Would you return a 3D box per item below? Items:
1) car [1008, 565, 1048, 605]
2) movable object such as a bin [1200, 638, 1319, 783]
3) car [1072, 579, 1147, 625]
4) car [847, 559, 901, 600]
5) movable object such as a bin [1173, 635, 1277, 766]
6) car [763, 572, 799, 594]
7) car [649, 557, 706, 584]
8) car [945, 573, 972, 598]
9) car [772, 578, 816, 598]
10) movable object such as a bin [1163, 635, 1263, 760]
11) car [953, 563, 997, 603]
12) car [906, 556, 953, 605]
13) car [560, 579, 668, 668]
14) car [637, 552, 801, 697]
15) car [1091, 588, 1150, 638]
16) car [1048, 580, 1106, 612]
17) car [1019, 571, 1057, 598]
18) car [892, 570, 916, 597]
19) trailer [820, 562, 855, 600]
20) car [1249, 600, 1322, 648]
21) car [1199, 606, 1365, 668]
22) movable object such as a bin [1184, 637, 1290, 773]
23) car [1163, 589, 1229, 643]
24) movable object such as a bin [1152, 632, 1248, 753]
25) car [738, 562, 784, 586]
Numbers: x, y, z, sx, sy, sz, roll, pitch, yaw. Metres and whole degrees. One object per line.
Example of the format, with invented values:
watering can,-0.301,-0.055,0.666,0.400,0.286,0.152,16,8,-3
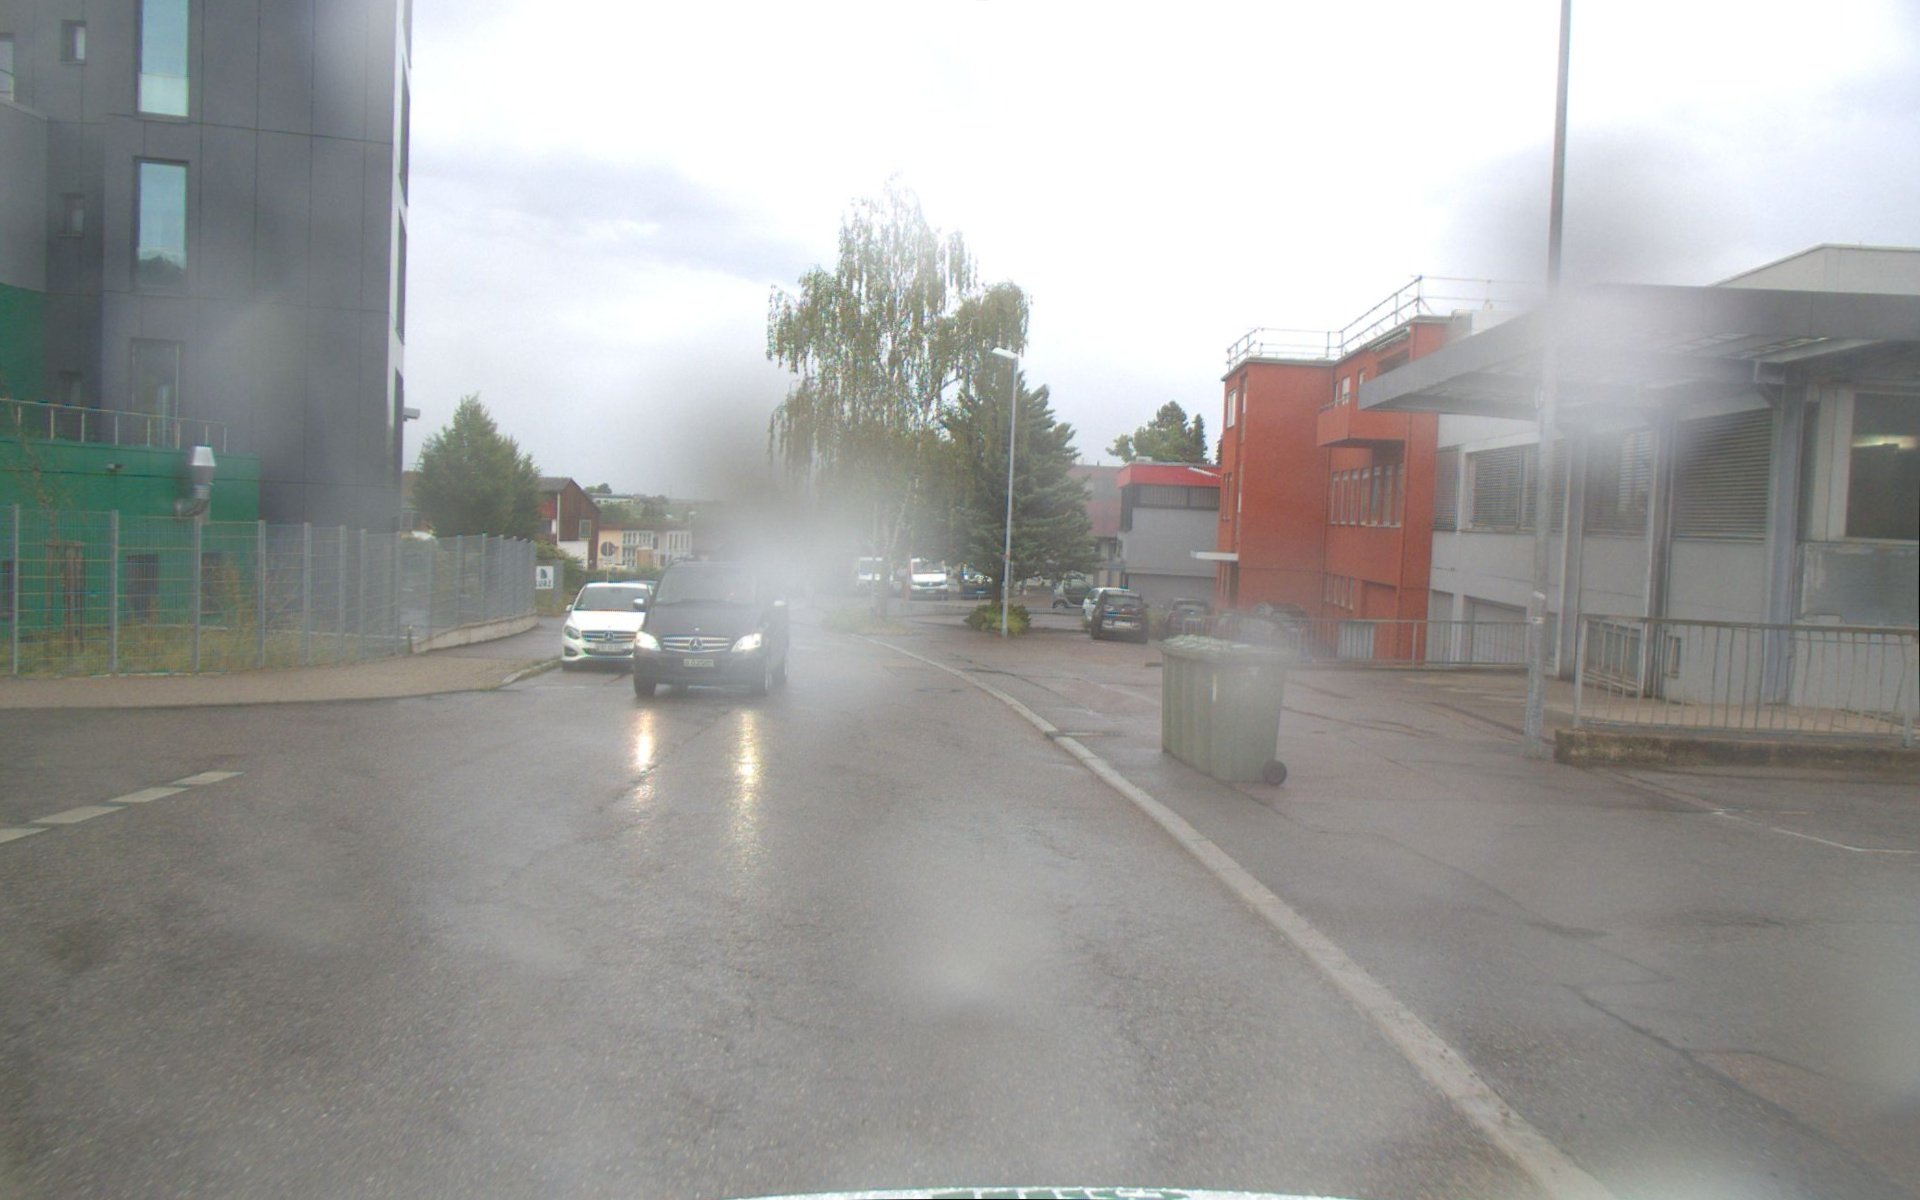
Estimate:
car,3.692,-0.798,90.157,1.746,2.049,3.629,2,-1,-4
movable object such as a bin,2.410,0.880,13.378,0.790,1.112,0.709,1,0,-3
car,5.496,0.091,61.229,2.025,1.579,3.995,2,-1,-5
car,-4.626,-1.066,88.705,2.225,2.049,3.987,2,-1,-13
movable object such as a bin,2.333,0.878,14.604,0.793,1.109,0.541,1,0,-3
car,-15.189,-1.442,140.188,1.967,1.734,3.970,2,-1,-24
car,-21.707,-2.243,127.211,3.904,1.914,2.001,2,0,3
car,-0.112,-0.823,95.560,1.371,1.349,2.699,2,-1,-4
car,-13.505,-0.971,134.548,2.428,1.566,3.970,2,-1,-24
movable object such as a bin,2.310,0.880,15.165,0.792,1.095,0.581,1,0,-3
car,0.790,-0.888,89.876,2.103,2.049,3.936,2,-1,-4
car,-1.662,-1.024,89.021,2.150,2.502,3.995,2,-1,-6
car,-6.423,0.430,31.060,1.737,1.539,4.136,1,-1,-9
car,-3.498,0.312,24.887,1.847,1.919,5.070,1,0,-2
car,5.189,0.430,53.751,1.662,1.501,4.001,2,-1,2
car,5.357,-0.191,75.888,2.497,1.375,1.241,2,0,-3
car,4.493,-0.869,95.981,1.605,1.479,3.506,2,-1,-7
car,-3.237,-0.960,94.687,1.264,1.449,2.544,2,-1,-4
trailer,-6.888,-1.067,92.808,1.816,2.049,3.996,2,0,-5
car,10.450,0.779,53.360,1.693,1.446,4.001,2,-1,2
car,6.923,0.788,35.822,3.329,1.183,1.793,2,0,4
movable object such as a bin,2.342,0.881,14.029,0.759,1.095,0.583,1,0,-3
car,7.724,0.531,54.380,1.703,1.682,4.001,2,-1,2
movable object such as a bin,2.284,0.868,15.770,0.786,1.098,0.624,1,0,-3
car,-20.291,-2.657,168.845,4.150,2.265,2.001,2,-1,9
